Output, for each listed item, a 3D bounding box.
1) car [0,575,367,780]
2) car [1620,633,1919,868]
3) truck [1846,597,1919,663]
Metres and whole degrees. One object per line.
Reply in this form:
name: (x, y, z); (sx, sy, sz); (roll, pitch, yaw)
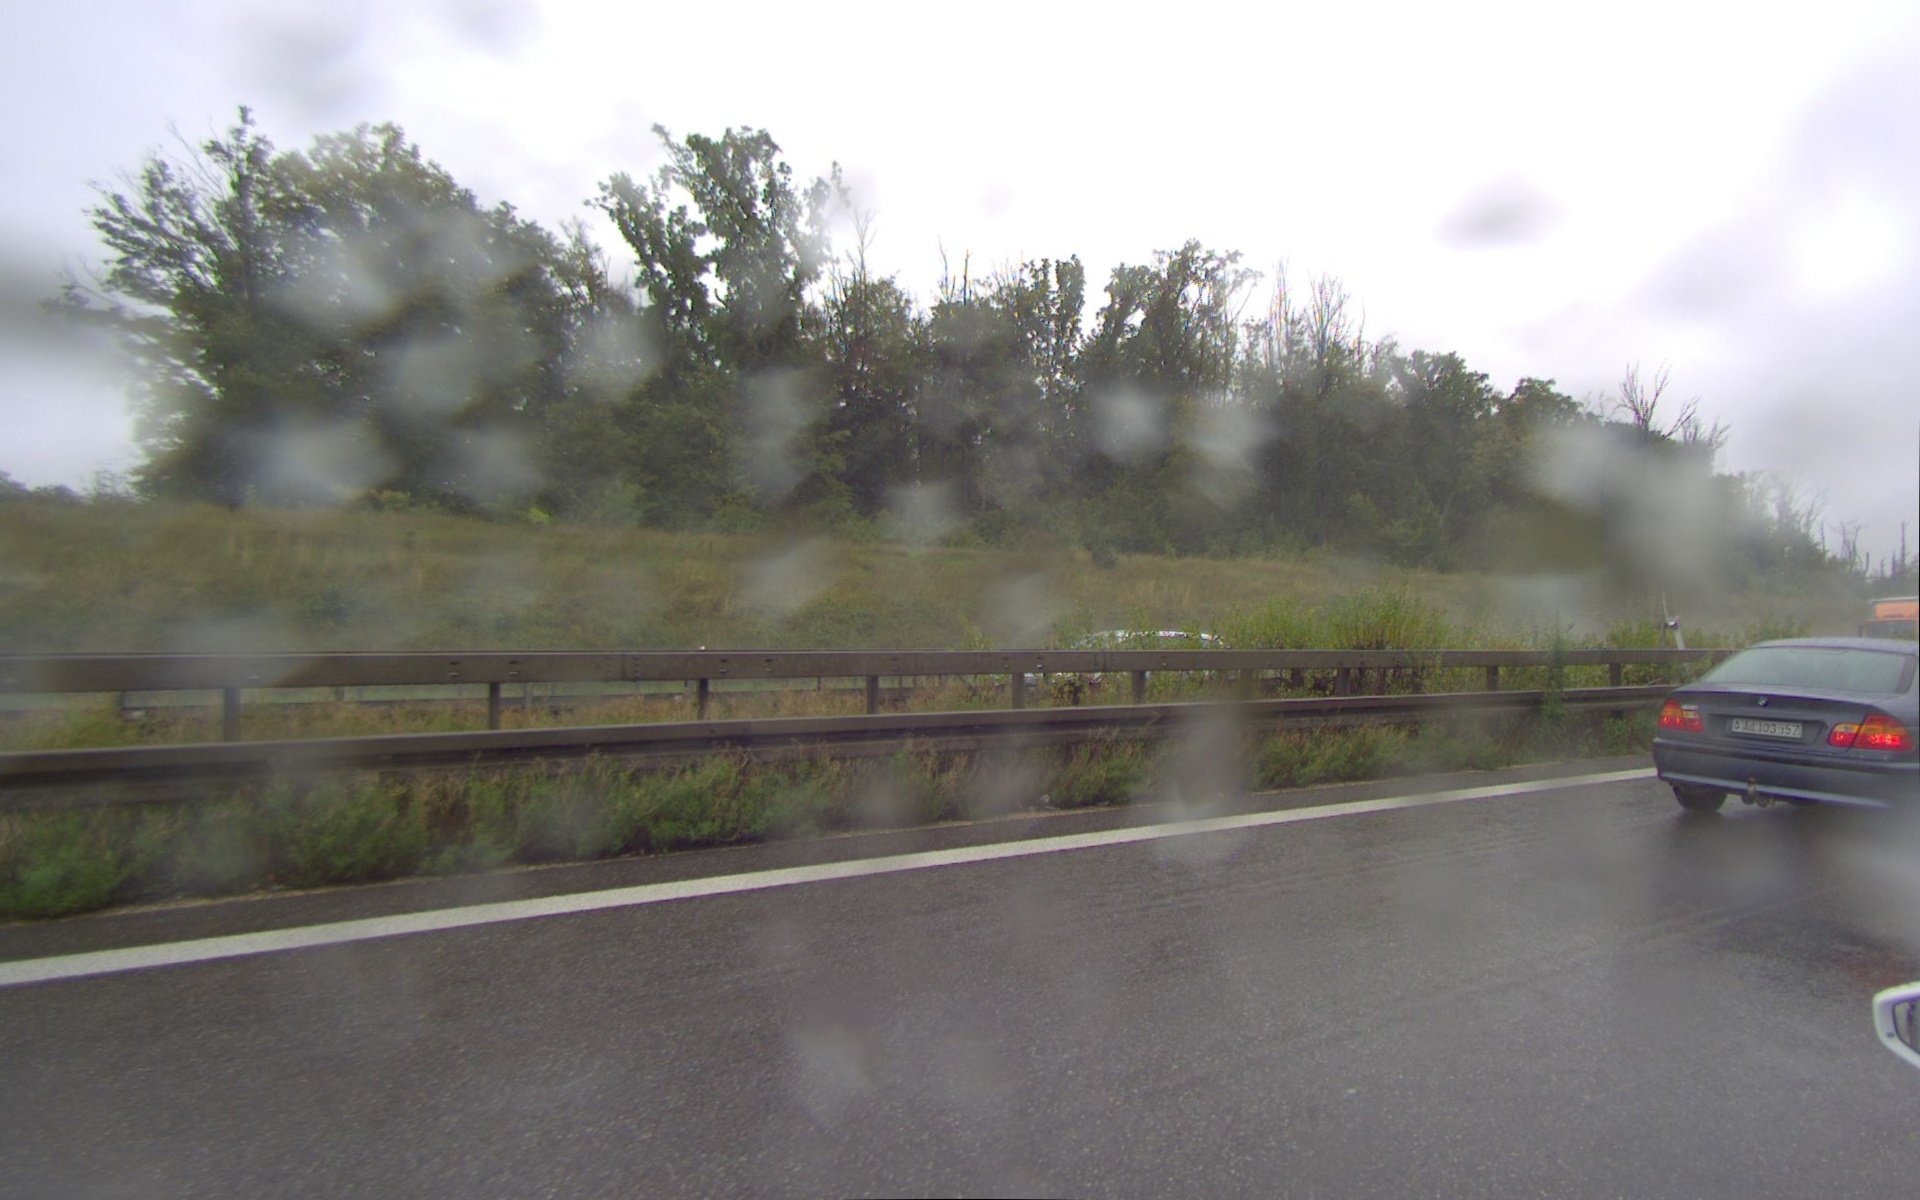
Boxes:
car: (-8.081, 0.741, 9.678); (3.957, 1.750, 1.641); (5, -4, -32)
car: (7.298, 1.000, 8.021); (4.180, 1.418, 1.710); (1, -1, -30)
truck: (51.936, 1.570, 54.748); (9.150, 3.325, 2.910); (1, 0, -31)
